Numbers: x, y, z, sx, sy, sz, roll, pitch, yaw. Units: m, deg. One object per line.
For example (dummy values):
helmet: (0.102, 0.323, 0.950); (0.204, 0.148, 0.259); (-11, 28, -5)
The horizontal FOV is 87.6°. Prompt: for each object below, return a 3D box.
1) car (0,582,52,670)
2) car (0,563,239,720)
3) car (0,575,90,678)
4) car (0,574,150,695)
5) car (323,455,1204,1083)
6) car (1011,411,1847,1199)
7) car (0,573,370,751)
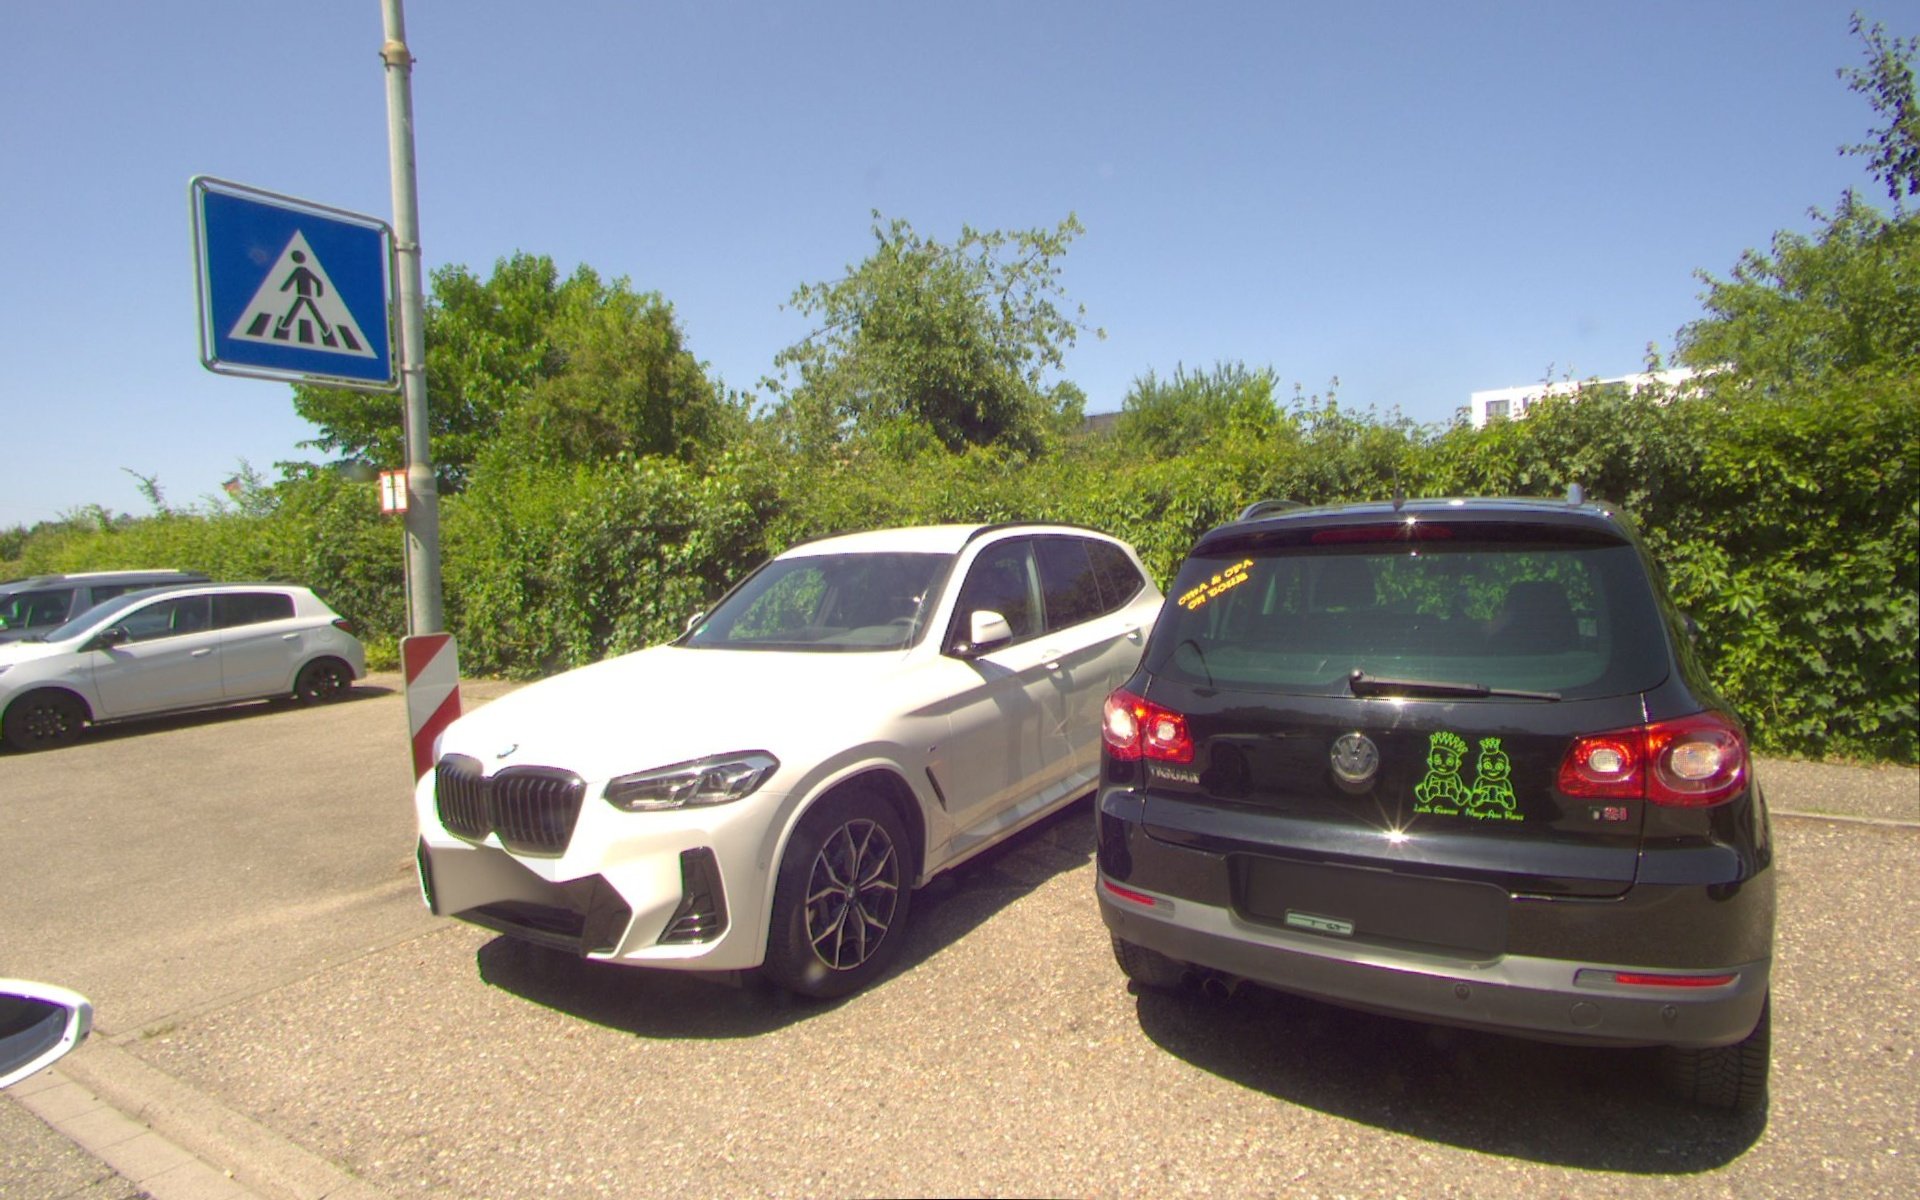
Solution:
car: (-18.291, 0.520, 17.425); (1.566, 1.525, 3.374); (1, 4, 36)
car: (-11.403, 0.497, 12.096); (1.637, 1.664, 3.953); (0, 5, 27)
car: (-16.179, 0.520, 15.240); (1.835, 1.545, 3.955); (0, 5, 27)
car: (-13.698, 0.515, 13.872); (1.515, 1.549, 3.446); (0, 5, 28)
car: (-0.390, 0.382, 5.142); (1.825, 1.753, 4.440); (-1, 3, 33)
car: (1.928, 0.416, 4.017); (1.741, 1.709, 3.962); (0, 3, 32)
car: (-8.799, 0.554, 10.924); (1.588, 1.471, 3.673); (1, 5, 36)
